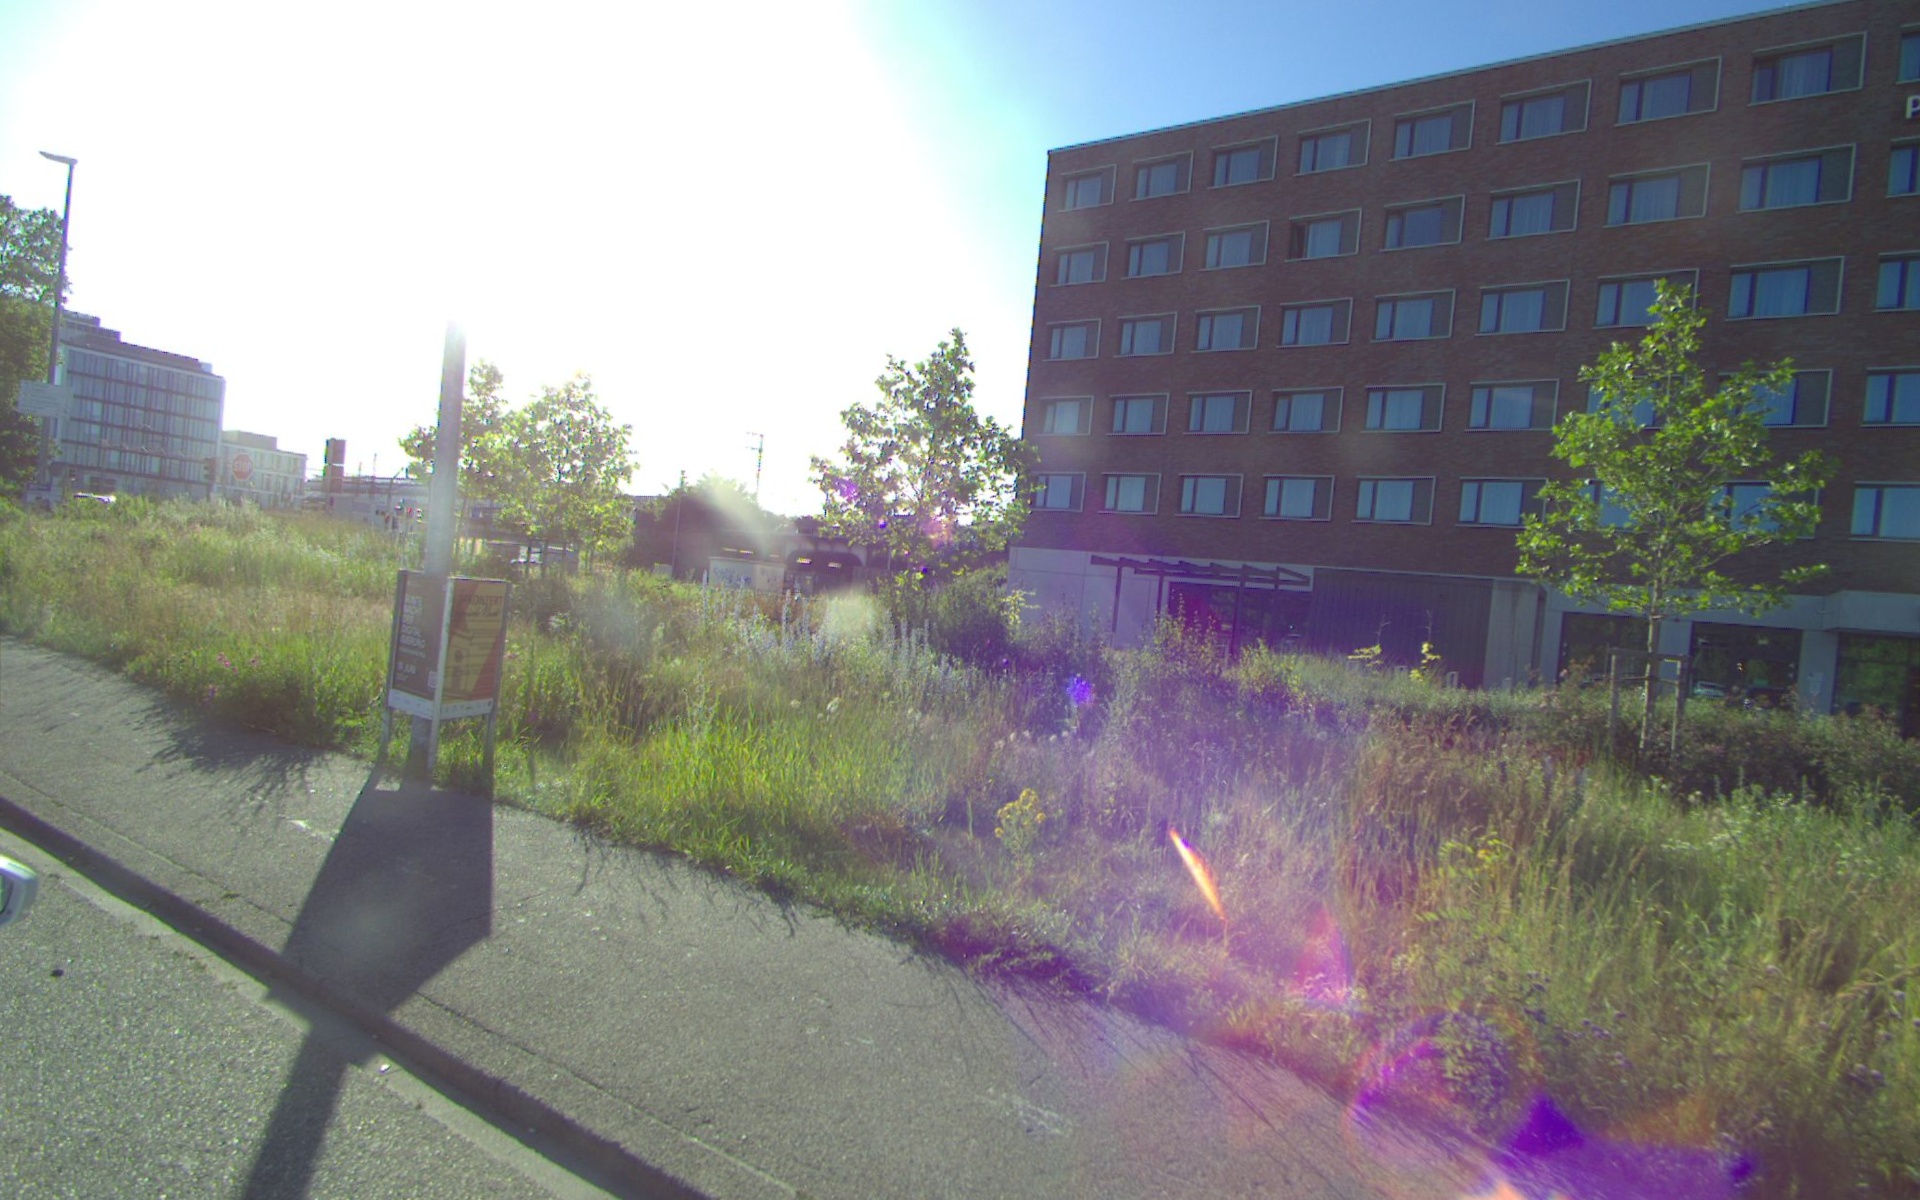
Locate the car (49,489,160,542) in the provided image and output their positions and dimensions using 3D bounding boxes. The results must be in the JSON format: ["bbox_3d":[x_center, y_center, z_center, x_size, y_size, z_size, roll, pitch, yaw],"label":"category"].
[{"bbox_3d":[-34.072,-3.314,40.207,1.877,1.615,3.985,7,-1,-18],"label":"car"}]
